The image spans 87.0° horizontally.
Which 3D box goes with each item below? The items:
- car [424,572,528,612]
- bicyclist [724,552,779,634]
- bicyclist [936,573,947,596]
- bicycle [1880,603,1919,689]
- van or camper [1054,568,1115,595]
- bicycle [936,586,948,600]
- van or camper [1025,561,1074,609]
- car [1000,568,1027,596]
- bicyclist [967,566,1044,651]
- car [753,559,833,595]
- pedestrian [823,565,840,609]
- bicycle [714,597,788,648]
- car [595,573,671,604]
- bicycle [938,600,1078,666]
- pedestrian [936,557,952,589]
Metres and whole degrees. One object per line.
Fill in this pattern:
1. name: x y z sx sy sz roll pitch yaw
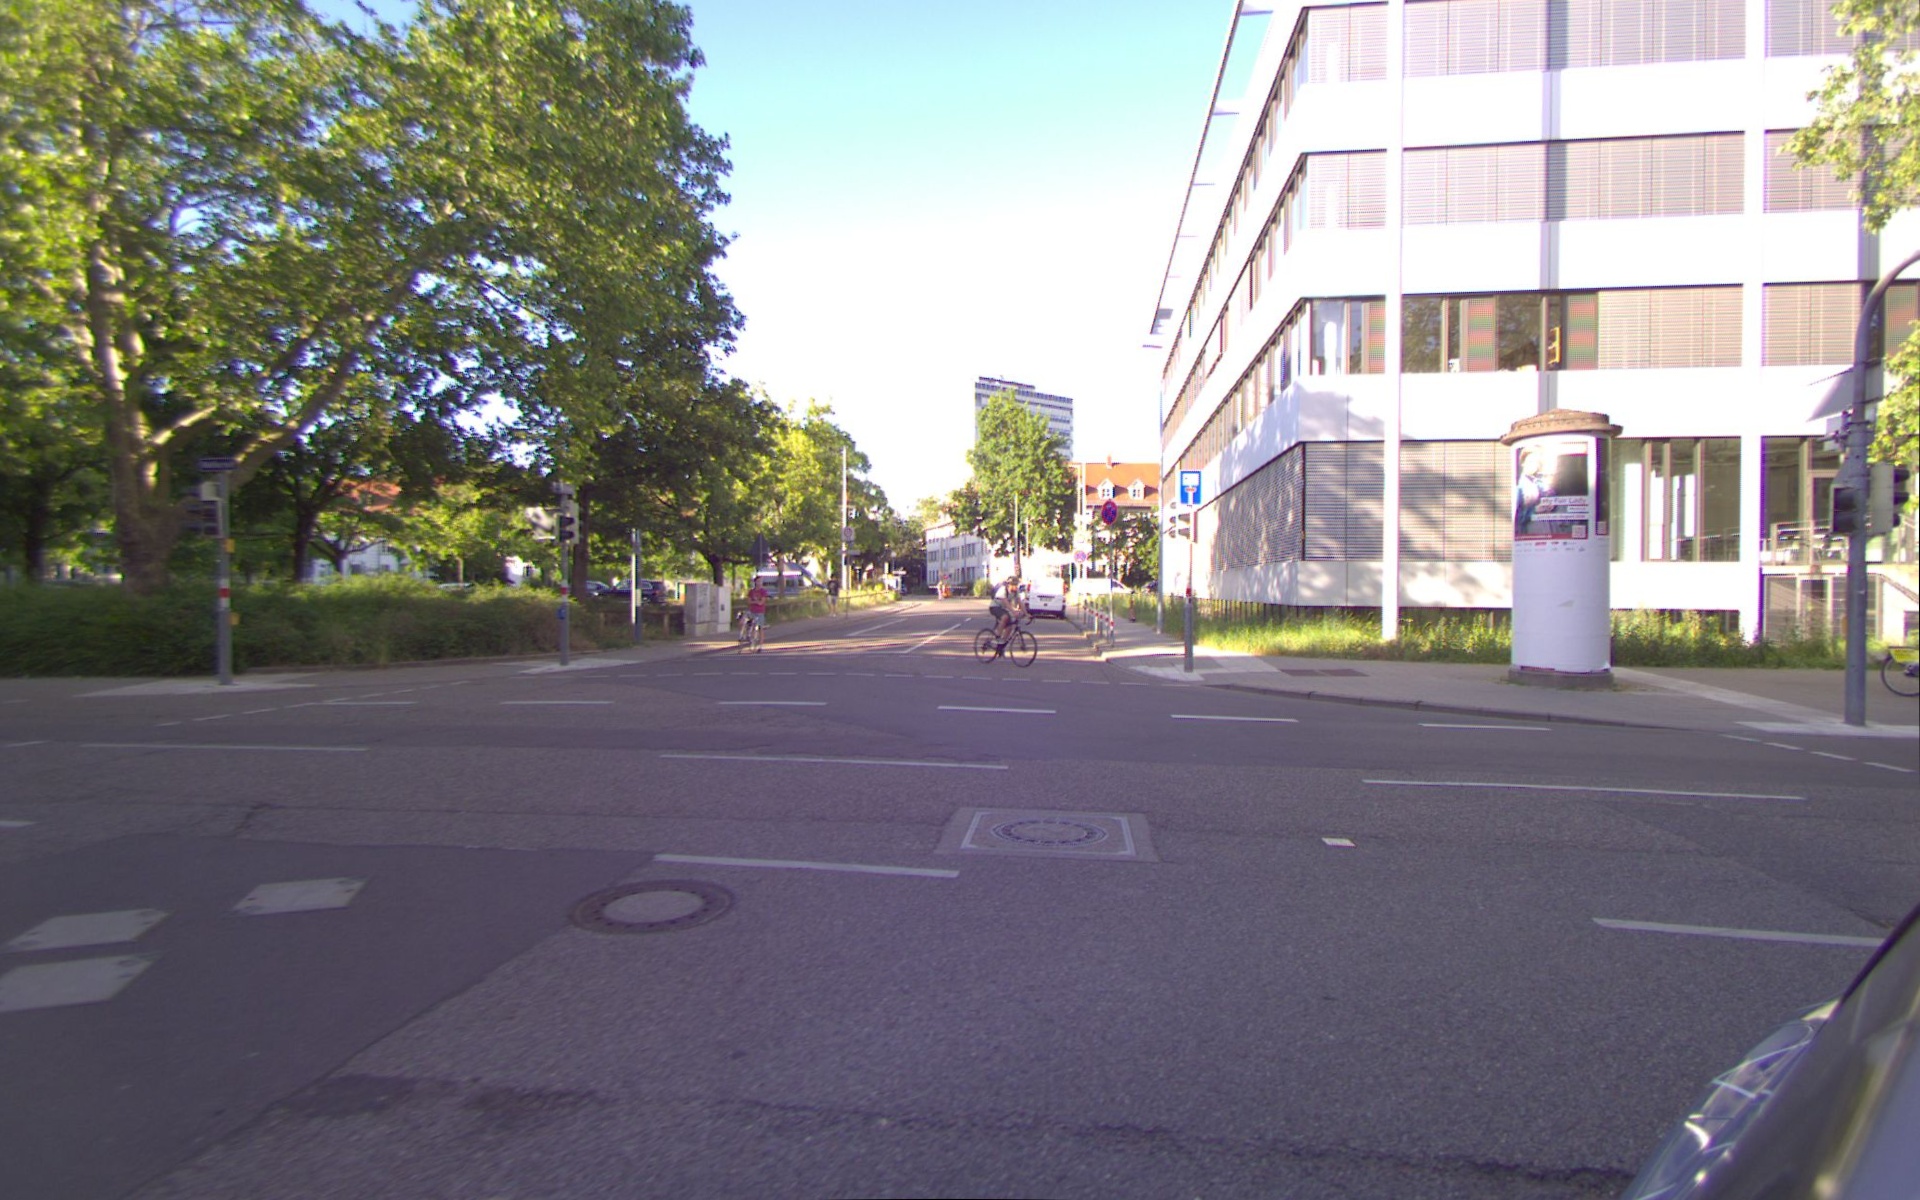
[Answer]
1. car: -22.366 -0.390 46.861 3.931 1.801 1.996 0 1 7
2. bicyclist: -4.785 -0.163 23.292 0.961 1.830 1.130 0 1 5
3. bicyclist: -1.333 -1.140 74.268 0.747 1.612 0.901 0 1 1
4. bicycle: 13.985 0.670 13.884 0.461 1.197 1.997 -1 2 -22
5. van or camper: 10.169 -1.521 83.003 4.637 2.113 2.002 0 1 -5
6. bicycle: -1.336 -0.520 74.224 0.747 0.961 3.057 0 1 1
7. van or camper: 4.058 -0.717 46.341 2.124 2.038 4.972 0 1 4
8. car: 4.123 -1.348 77.730 1.964 2.039 3.995 0 0 4
9. bicyclist: 0.890 0.137 19.654 1.121 1.564 0.940 3 3 39
10. car: -9.913 -1.363 60.306 4.480 2.140 2.000 0 1 1
11. pedestrian: -5.570 -0.552 43.908 0.654 1.878 1.026 0 1 -5
12. bicycle: -4.791 0.475 23.465 0.925 1.051 3.003 0 1 4
13. car: -19.850 -0.699 61.496 3.931 1.801 1.996 0 1 7
14. bicycle: 0.899 0.598 19.658 2.647 1.064 0.969 3 3 39
15. pedestrian: -1.725 -2.830 106.362 1.429 3.350 1.409 0 1 -12
